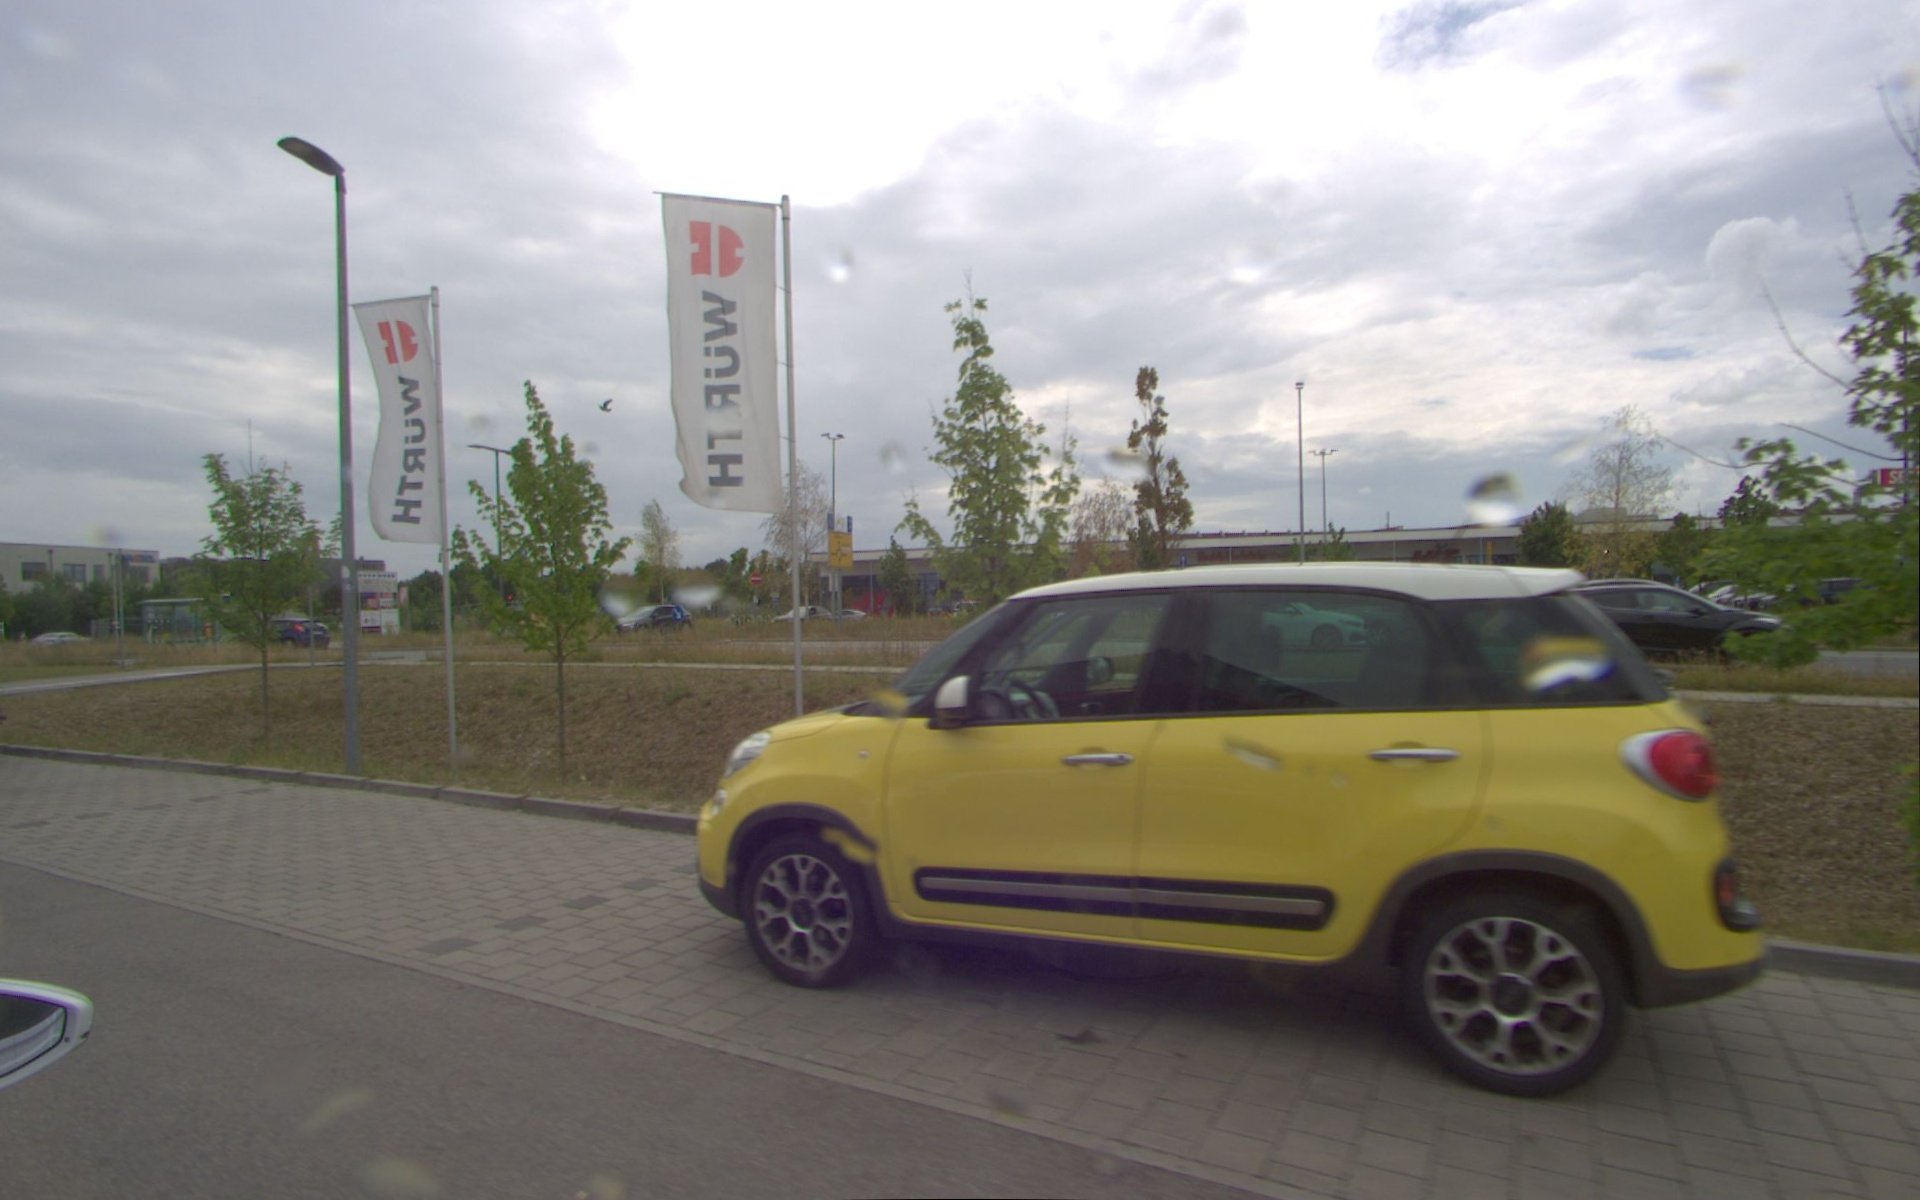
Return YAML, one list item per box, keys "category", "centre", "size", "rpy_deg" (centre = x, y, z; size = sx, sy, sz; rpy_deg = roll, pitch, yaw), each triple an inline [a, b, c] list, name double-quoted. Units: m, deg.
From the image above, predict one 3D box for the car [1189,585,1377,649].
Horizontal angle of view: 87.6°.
- category: "car"
  centre: [8.020, 0.432, 24.917]
  size: [4.184, 1.469, 1.793]
  rpy_deg: [-2, 0, 29]

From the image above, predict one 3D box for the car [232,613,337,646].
- category: "car"
  centre: [-29.437, 1.287, 43.660]
  size: [3.928, 1.342, 1.717]
  rpy_deg: [-1, 0, 17]

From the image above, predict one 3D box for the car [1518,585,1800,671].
- category: "car"
  centre: [12.233, 0.456, 17.785]
  size: [3.945, 1.372, 1.749]
  rpy_deg: [-1, 0, 34]

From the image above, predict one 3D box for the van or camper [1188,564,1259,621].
- category: "van or camper"
  centre: [12.442, -0.331, 47.134]
  size: [2.256, 2.525, 3.981]
  rpy_deg: [0, 0, 30]

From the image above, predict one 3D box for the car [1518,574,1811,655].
- category: "car"
  centre: [14.372, 0.284, 20.832]
  size: [4.811, 1.528, 1.802]
  rpy_deg: [0, 1, 30]

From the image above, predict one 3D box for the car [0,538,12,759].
- category: "car"
  centre: [-14.072, 0.609, 11.568]
  size: [7.736, 2.353, 2.192]
  rpy_deg: [-1, 0, 28]

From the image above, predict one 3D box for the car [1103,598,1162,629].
- category: "car"
  centre: [8.662, 0.667, 50.048]
  size: [1.962, 1.470, 4.137]
  rpy_deg: [-1, -1, 24]

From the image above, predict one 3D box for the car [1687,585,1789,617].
- category: "car"
  centre: [42.308, 0.040, 54.544]
  size: [3.927, 1.662, 1.874]
  rpy_deg: [-1, 0, 15]

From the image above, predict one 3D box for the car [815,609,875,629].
- category: "car"
  centre: [-8.442, 1.403, 73.735]
  size: [3.926, 1.369, 1.998]
  rpy_deg: [-1, 0, 14]

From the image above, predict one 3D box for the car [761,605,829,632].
- category: "car"
  centre: [-9.211, 1.015, 56.241]
  size: [1.754, 1.464, 4.600]
  rpy_deg: [-1, -1, 20]

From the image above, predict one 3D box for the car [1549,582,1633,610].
- category: "car"
  centre: [38.617, -0.234, 61.373]
  size: [3.927, 1.662, 1.874]
  rpy_deg: [-1, 0, 15]

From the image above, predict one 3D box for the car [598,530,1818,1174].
- category: "car"
  centre: [0.693, 0.704, 4.325]
  size: [4.228, 1.705, 1.748]
  rpy_deg: [-1, 0, 24]

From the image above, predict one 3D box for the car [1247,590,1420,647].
- category: "car"
  centre: [10.346, 0.523, 27.795]
  size: [4.203, 1.475, 1.990]
  rpy_deg: [-1, -1, 32]

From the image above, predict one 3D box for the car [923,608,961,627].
- category: "car"
  centre: [-1.490, 1.433, 83.064]
  size: [1.879, 1.463, 3.992]
  rpy_deg: [-1, 0, 19]

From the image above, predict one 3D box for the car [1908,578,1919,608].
- category: "car"
  centre: [54.255, -0.406, 54.137]
  size: [3.927, 1.662, 1.874]
  rpy_deg: [-1, 0, 15]
